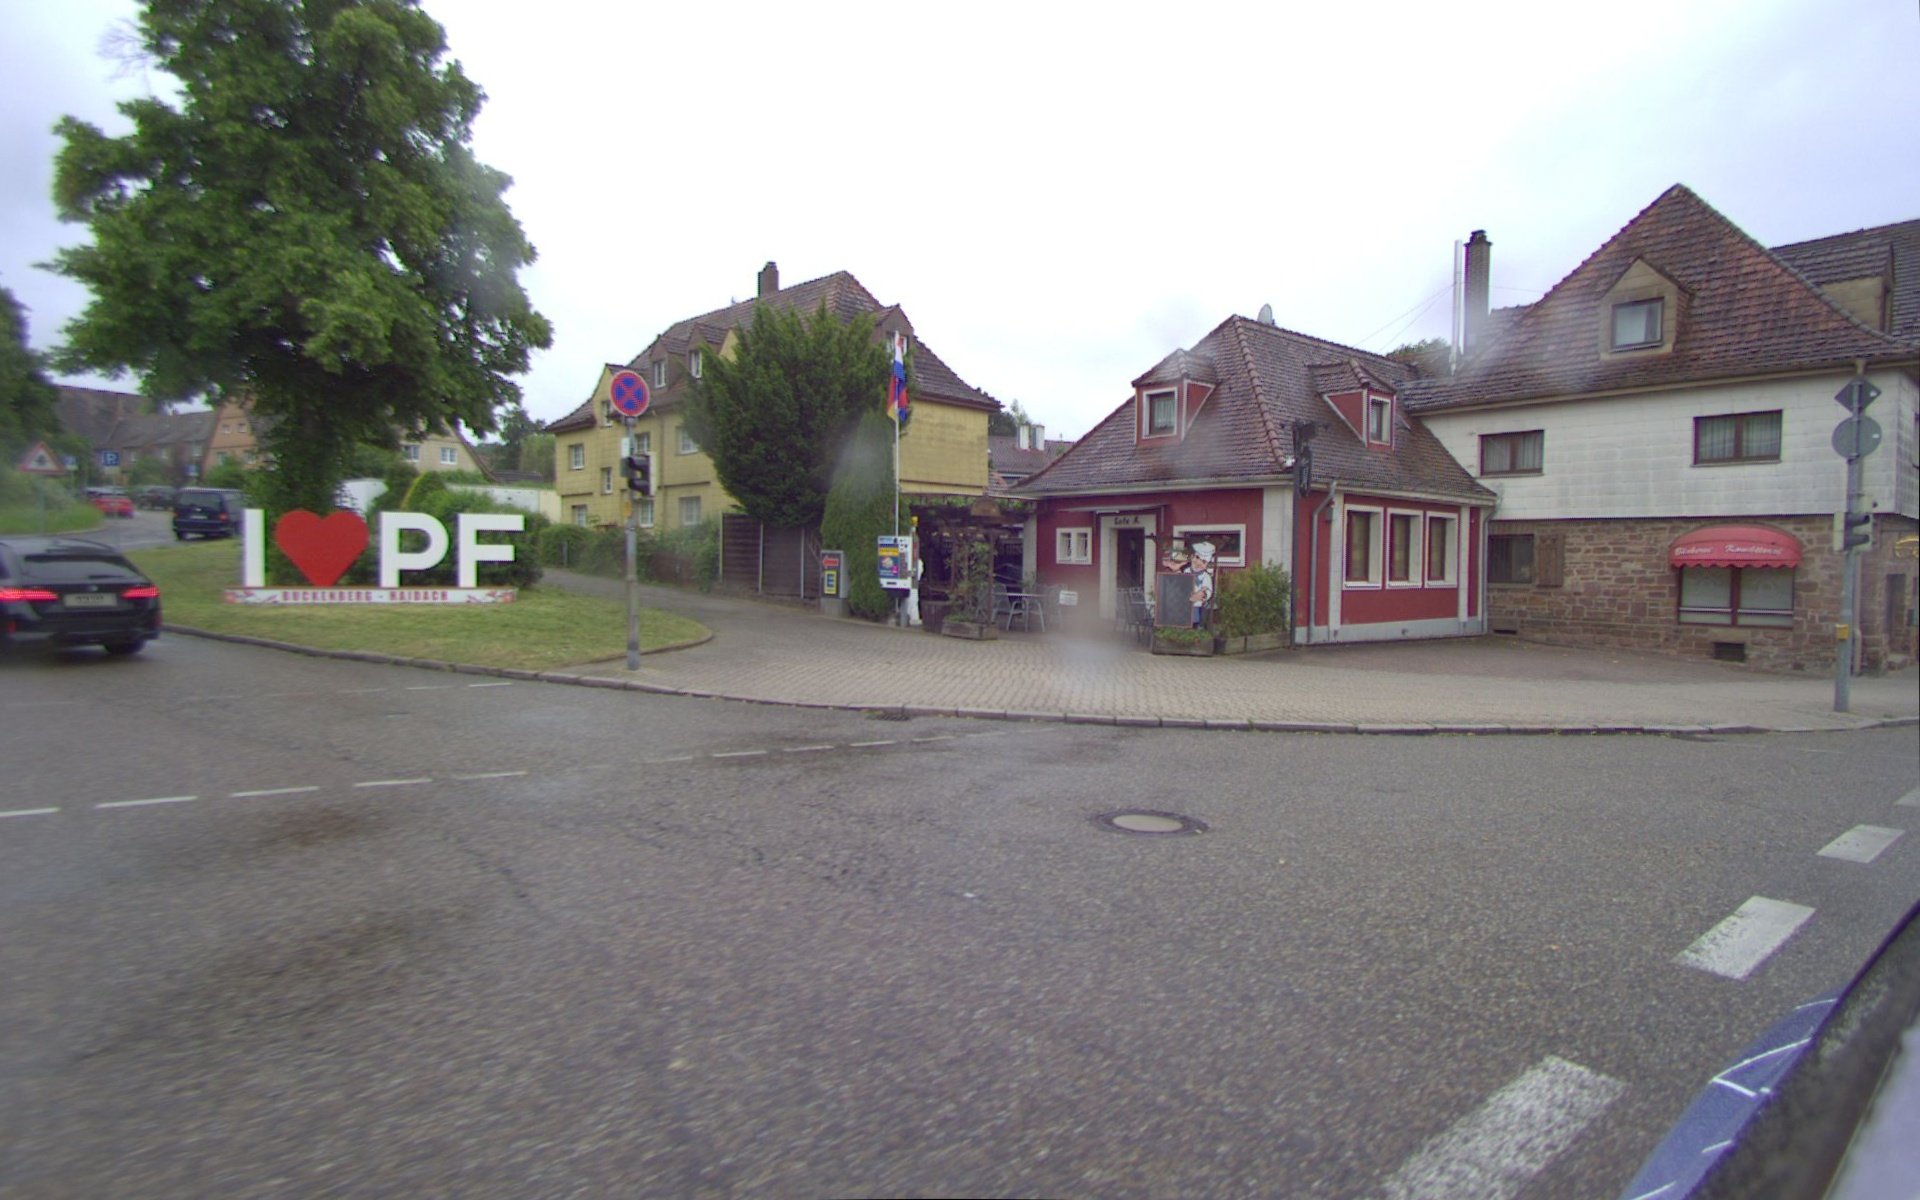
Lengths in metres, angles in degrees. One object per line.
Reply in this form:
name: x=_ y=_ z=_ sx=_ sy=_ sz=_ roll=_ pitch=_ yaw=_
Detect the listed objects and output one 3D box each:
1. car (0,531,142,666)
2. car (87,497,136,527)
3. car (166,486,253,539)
car: x=-12.249 y=-0.098 z=12.987 sx=3.501 sy=1.553 sz=1.513 roll=3 pitch=1 yaw=29
car: x=-45.640 y=-4.698 z=54.415 sx=2.982 sy=1.334 sz=1.458 roll=0 pitch=0 yaw=39
car: x=-29.813 y=-3.421 z=40.308 sx=1.805 sy=1.864 sz=3.820 roll=3 pitch=2 yaw=-22
